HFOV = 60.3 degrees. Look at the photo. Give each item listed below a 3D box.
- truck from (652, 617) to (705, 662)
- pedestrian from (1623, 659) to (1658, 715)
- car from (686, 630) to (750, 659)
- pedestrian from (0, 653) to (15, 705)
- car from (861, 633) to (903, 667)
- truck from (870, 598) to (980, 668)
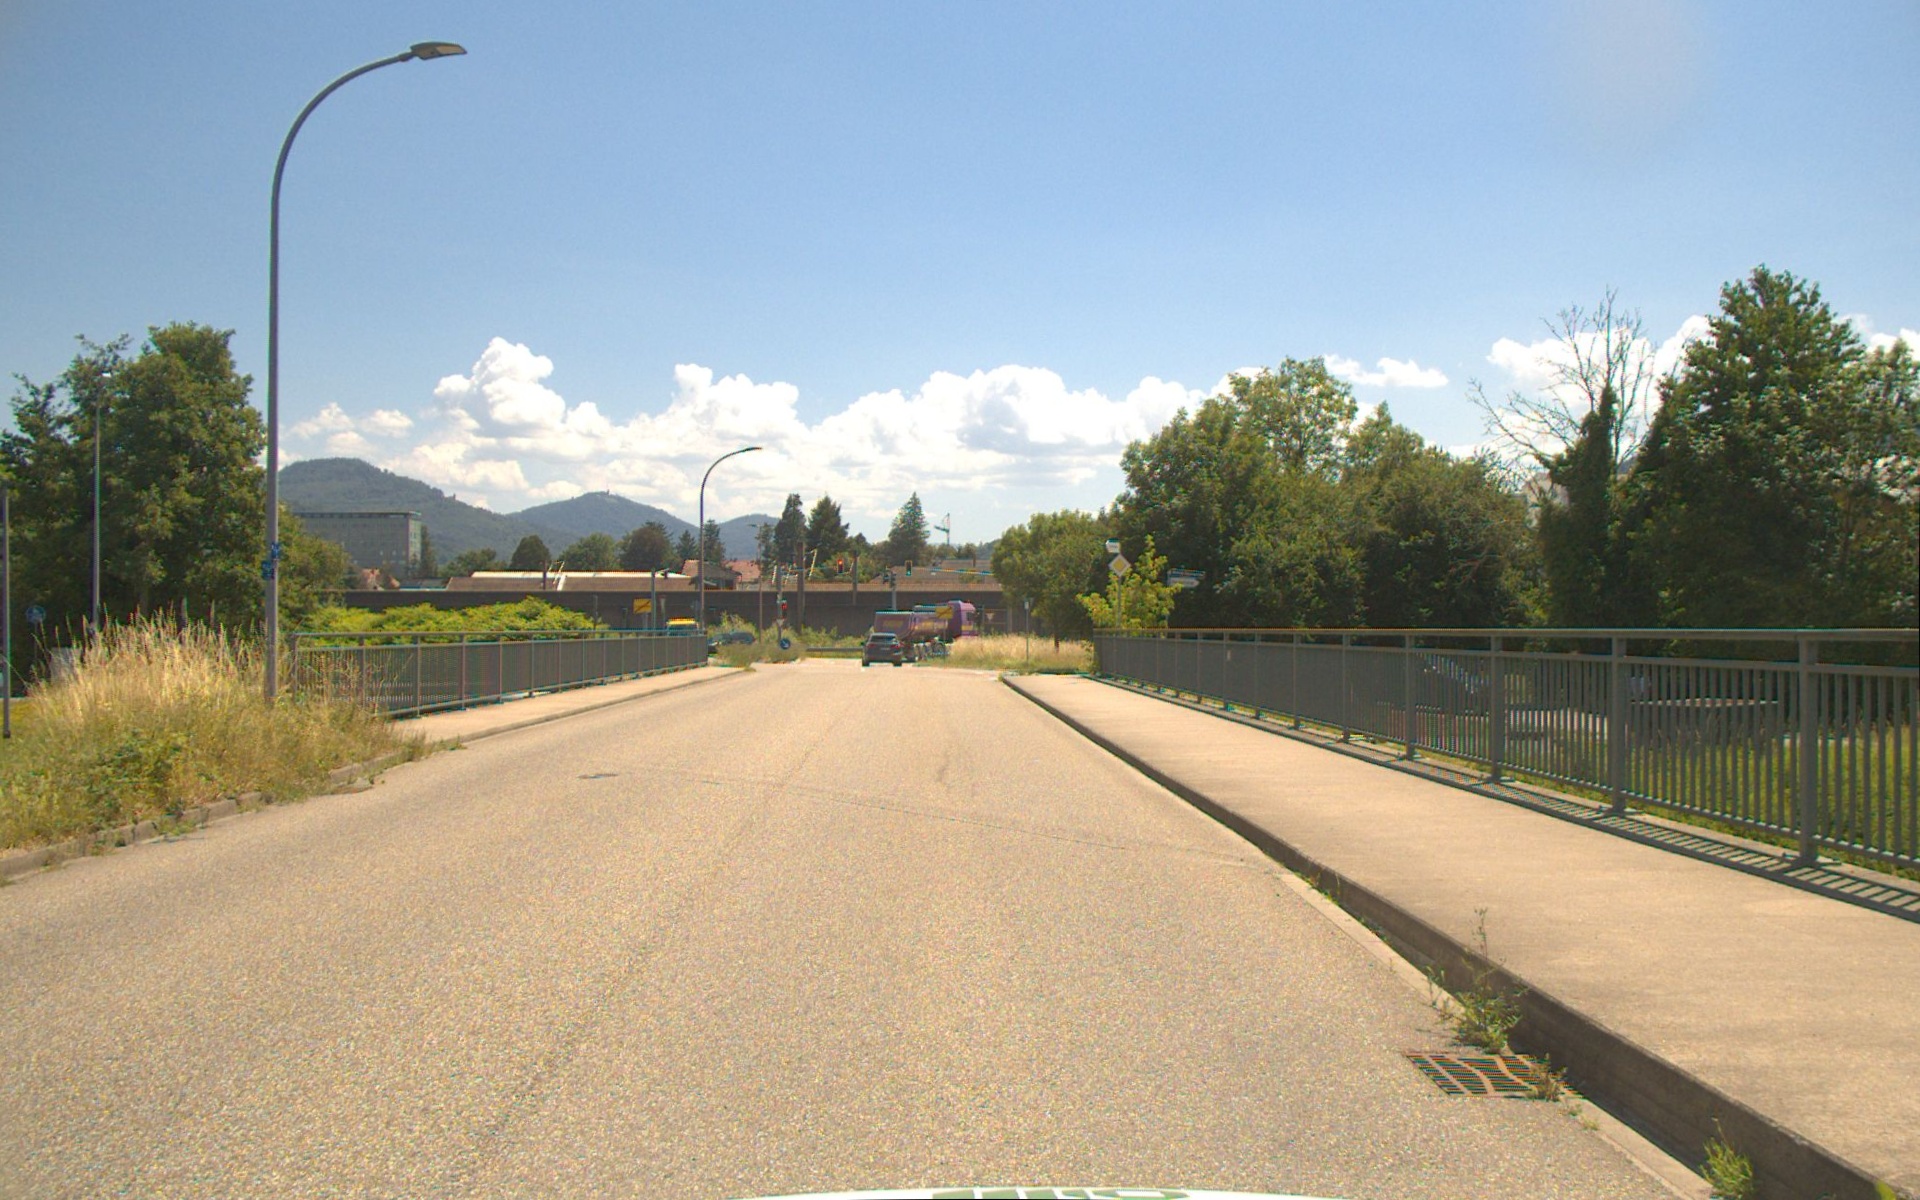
[{"bbox_3d":[-16.323,2.344,95.484,2.272,2.379,9.015,-1,-2,-14],"label":"truck"},{"bbox_3d":[18.249,2.318,44.393,0.666,1.417,0.851,-2,1,10],"label":"pedestrian"},{"bbox_3d":[-16.101,2.968,110.175,1.870,1.732,3.985,3,0,35],"label":"car"},{"bbox_3d":[-31.579,2.602,54.501,0.618,1.703,0.594,3,-3,-23],"label":"pedestrian"},{"bbox_3d":[-3.731,2.398,79.821,1.953,1.529,3.998,2,-1,-2],"label":"car"},{"bbox_3d":[-2.086,2.225,106.791,2.934,4.254,11.807,0,-2,21],"label":"truck"}]
